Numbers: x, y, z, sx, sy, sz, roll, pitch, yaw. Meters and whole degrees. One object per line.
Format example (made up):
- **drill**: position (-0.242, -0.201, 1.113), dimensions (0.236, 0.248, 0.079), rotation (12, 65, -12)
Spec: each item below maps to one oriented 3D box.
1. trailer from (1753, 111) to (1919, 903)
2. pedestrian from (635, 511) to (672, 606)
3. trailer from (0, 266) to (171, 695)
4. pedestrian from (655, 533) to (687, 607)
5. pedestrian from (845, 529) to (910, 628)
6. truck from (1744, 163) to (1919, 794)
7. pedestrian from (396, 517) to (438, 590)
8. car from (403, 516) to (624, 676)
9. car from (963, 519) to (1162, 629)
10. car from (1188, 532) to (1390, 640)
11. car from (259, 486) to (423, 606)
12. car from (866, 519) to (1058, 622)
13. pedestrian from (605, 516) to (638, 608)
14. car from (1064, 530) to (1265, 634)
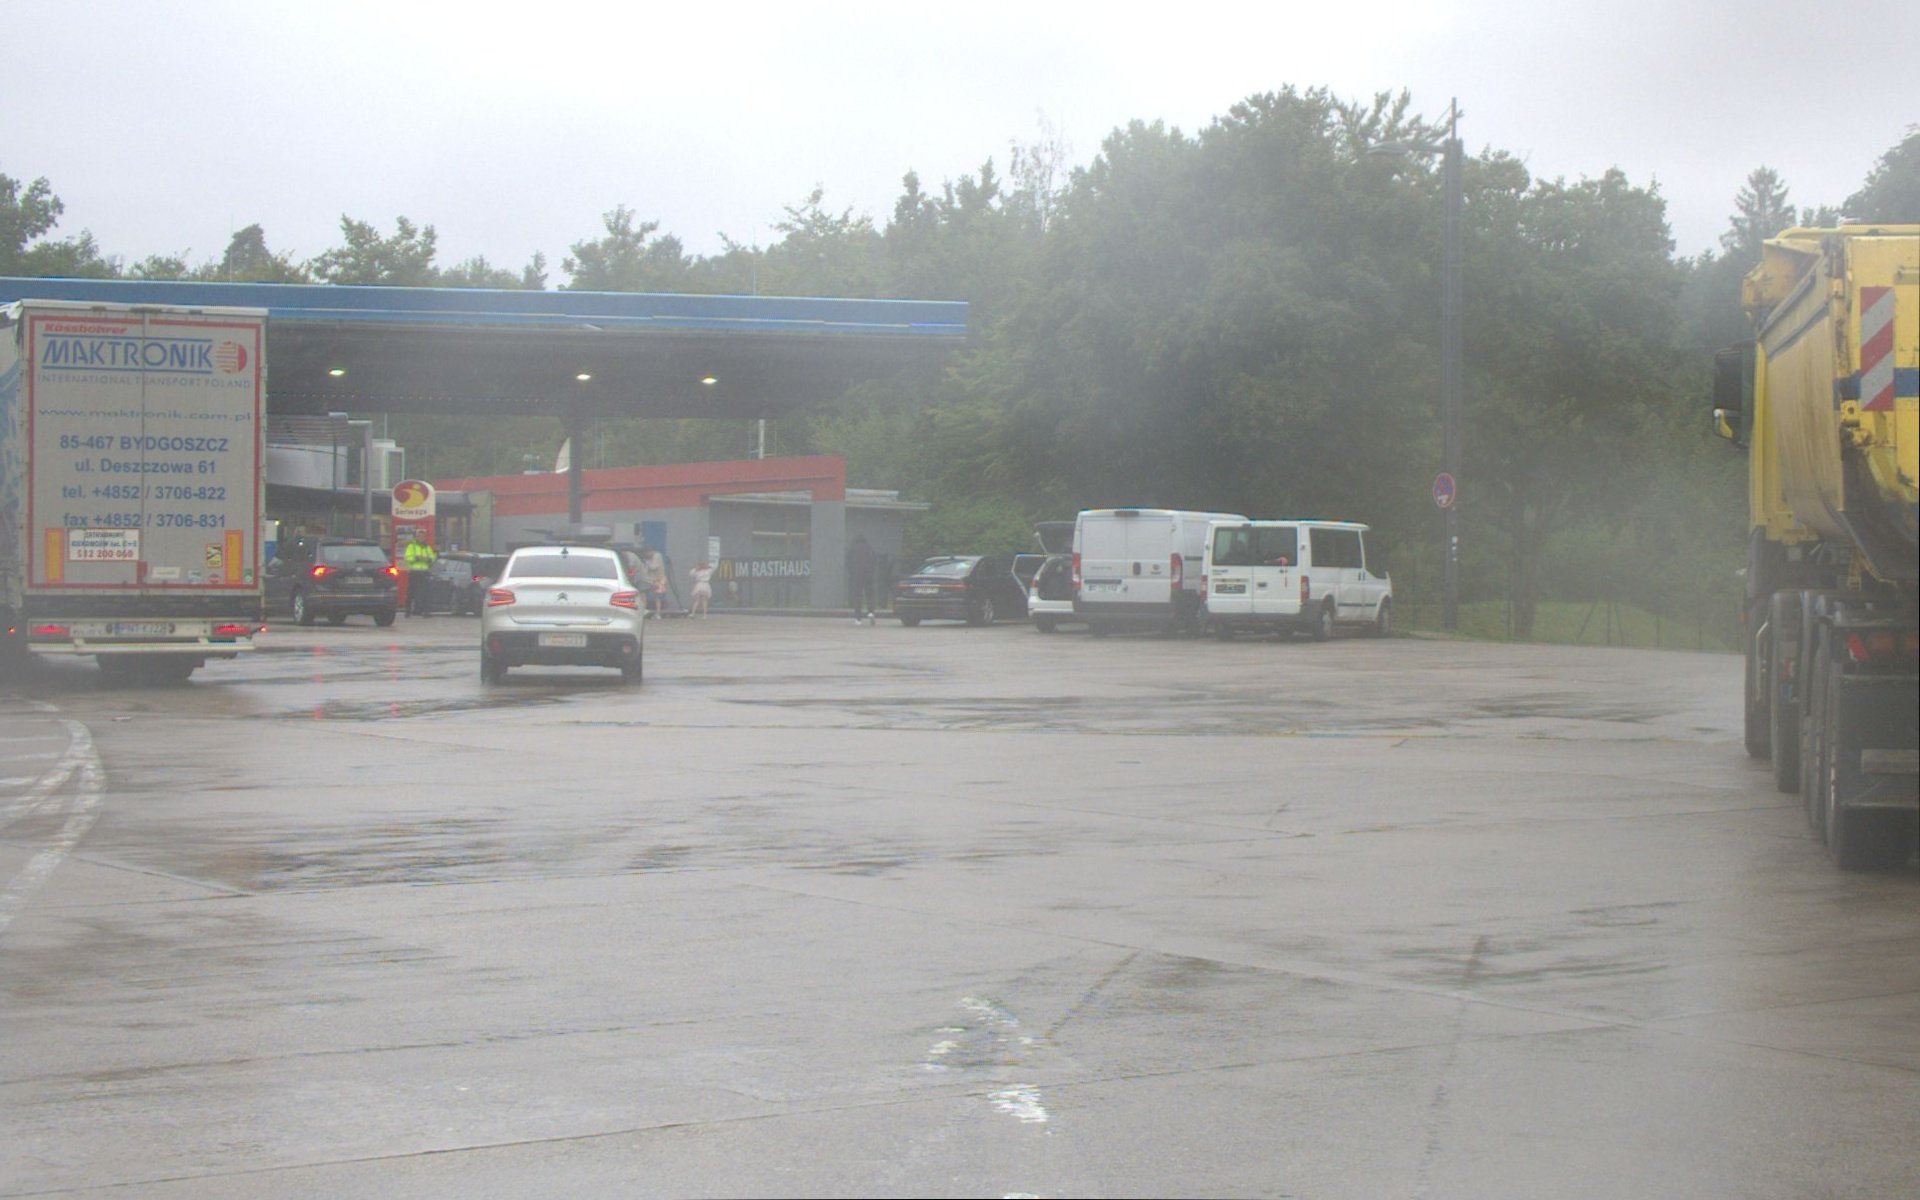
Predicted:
- **trailer**: position (5.436, -0.444, 18.245), dimensions (2.184, 3.381, 7.560), rotation (1, 1, 12)
- **pedestrian**: position (-6.690, -0.903, 75.059), dimensions (0.669, 2.007, 0.742), rotation (2, -2, -2)
- **trailer**: position (-11.708, -1.306, 41.122), dimensions (1.993, 4.544, 9.811), rotation (1, 0, -27)
- **pedestrian**: position (-6.094, -0.633, 72.485), dimensions (0.608, 1.534, 0.595), rotation (1, -1, -9)
- **pedestrian**: position (-1.613, -0.426, 67.531), dimensions (0.954, 1.913, 1.088), rotation (1, 1, 18)
- **truck**: position (6.381, -0.764, 22.781), dimensions (2.182, 3.815, 4.140), rotation (1, 1, 12)
- **pedestrian**: position (-11.730, -1.004, 74.279), dimensions (0.718, 1.516, 0.742), rotation (2, -2, -2)
- **car**: position (-5.060, -0.072, 38.537), dimensions (1.993, 1.673, 4.001), rotation (1, 1, -14)
- **car**: position (1.923, -0.500, 62.915), dimensions (2.116, 1.930, 4.186), rotation (1, 1, 26)
- **car**: position (5.550, -0.263, 57.584), dimensions (2.116, 1.722, 3.995), rotation (1, 1, 26)
- **car**: position (-11.693, -0.982, 64.771), dimensions (1.993, 2.007, 4.000), rotation (4, -3, -25)
- **car**: position (0.075, -0.597, 66.959), dimensions (2.116, 1.930, 4.186), rotation (1, 1, 26)
- **pedestrian**: position (-7.501, -0.837, 76.214), dimensions (0.586, 2.007, 0.638), rotation (3, -3, -10)
- **car**: position (3.580, -0.328, 59.638), dimensions (2.116, 1.722, 3.995), rotation (1, 1, 26)
